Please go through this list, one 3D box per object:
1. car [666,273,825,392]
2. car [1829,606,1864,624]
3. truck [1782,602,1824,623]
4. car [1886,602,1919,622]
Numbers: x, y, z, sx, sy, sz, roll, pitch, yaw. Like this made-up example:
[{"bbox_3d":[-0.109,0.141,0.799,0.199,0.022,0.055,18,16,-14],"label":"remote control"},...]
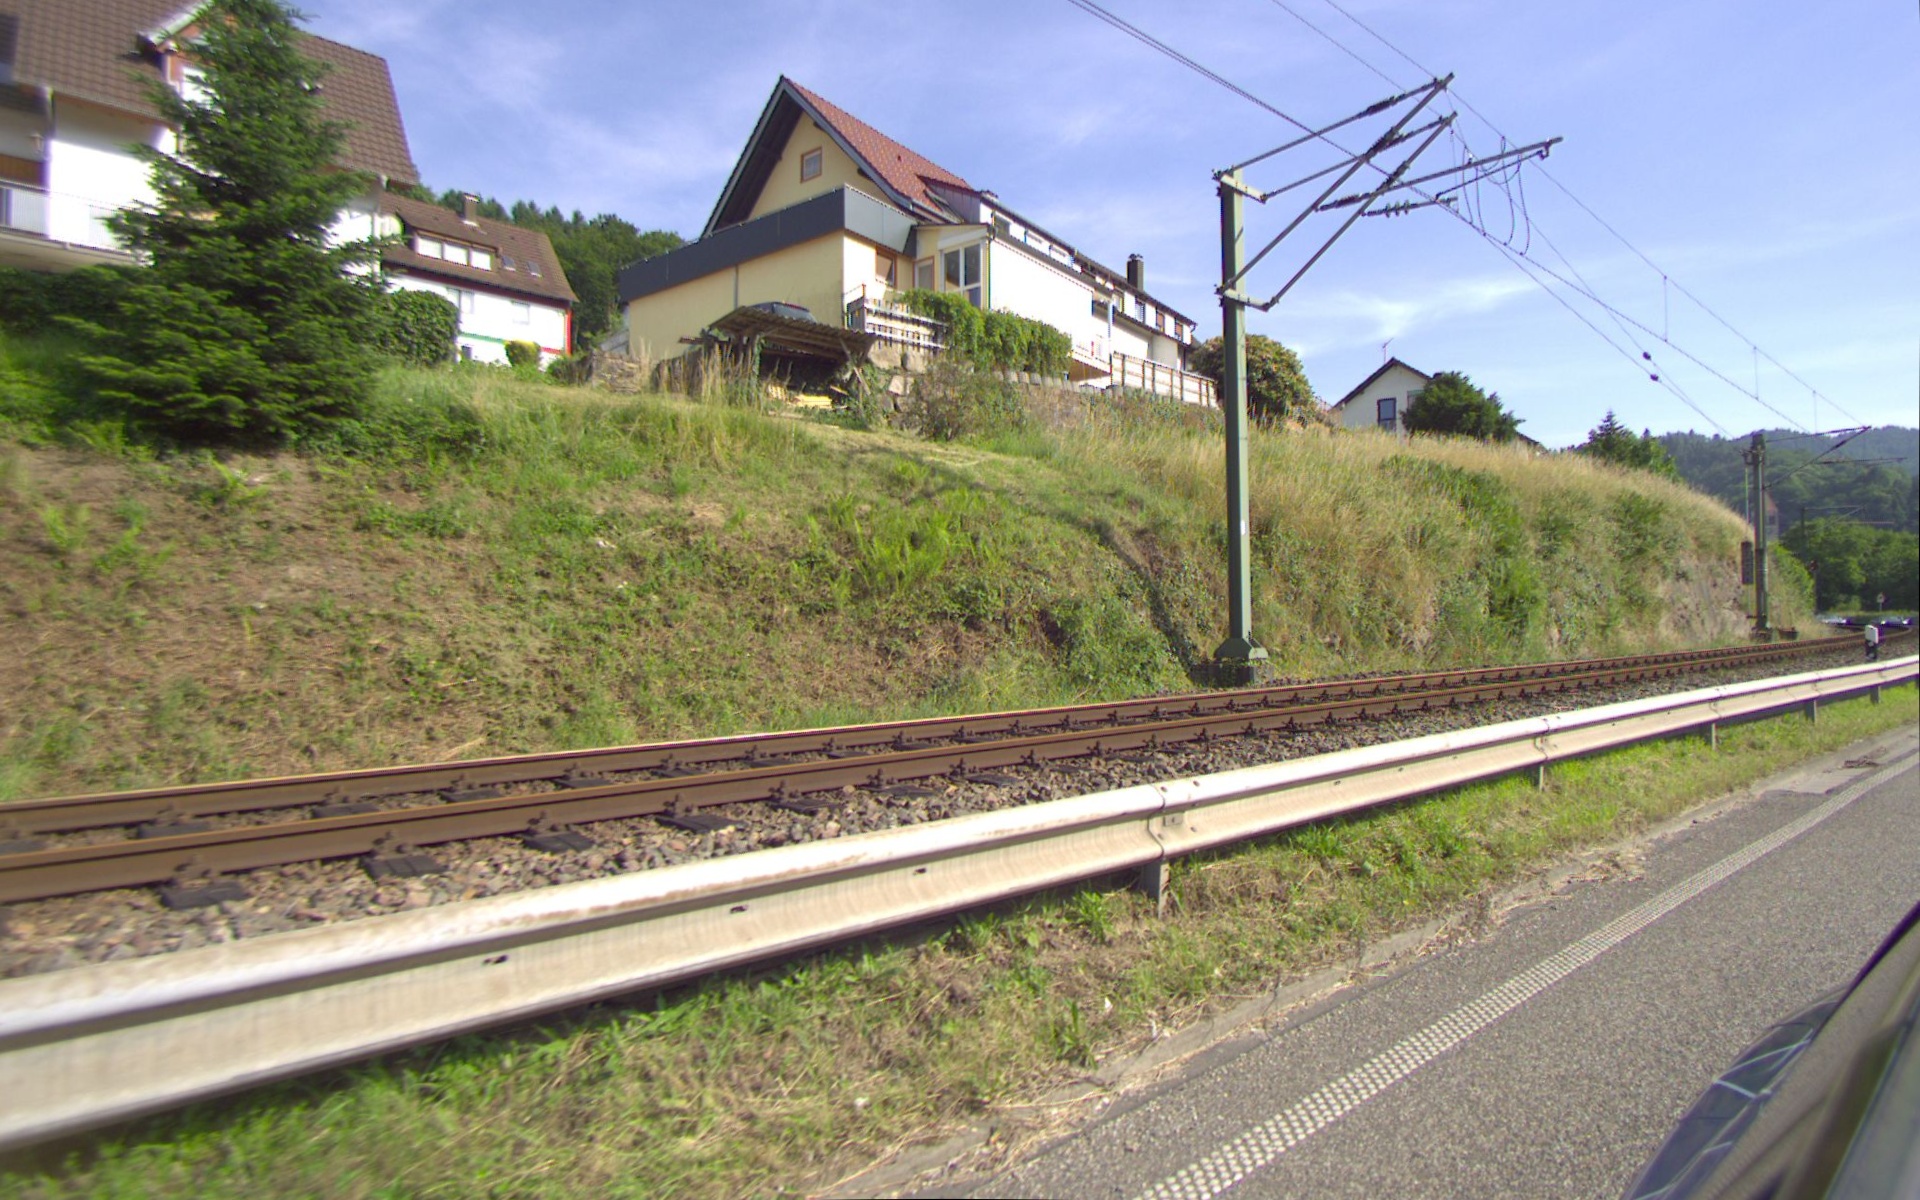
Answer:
[{"bbox_3d":[-4.966,-6.014,23.193,3.738,1.560,1.725,-4,-2,44],"label":"car"},{"bbox_3d":[92.791,1.530,105.967,1.869,1.767,4.136,-2,-1,29],"label":"car"},{"bbox_3d":[105.968,1.563,127.334,2.140,2.397,6.688,-4,-3,24],"label":"truck"},{"bbox_3d":[84.382,1.071,90.414,1.874,1.767,4.126,-1,-1,34],"label":"car"}]
